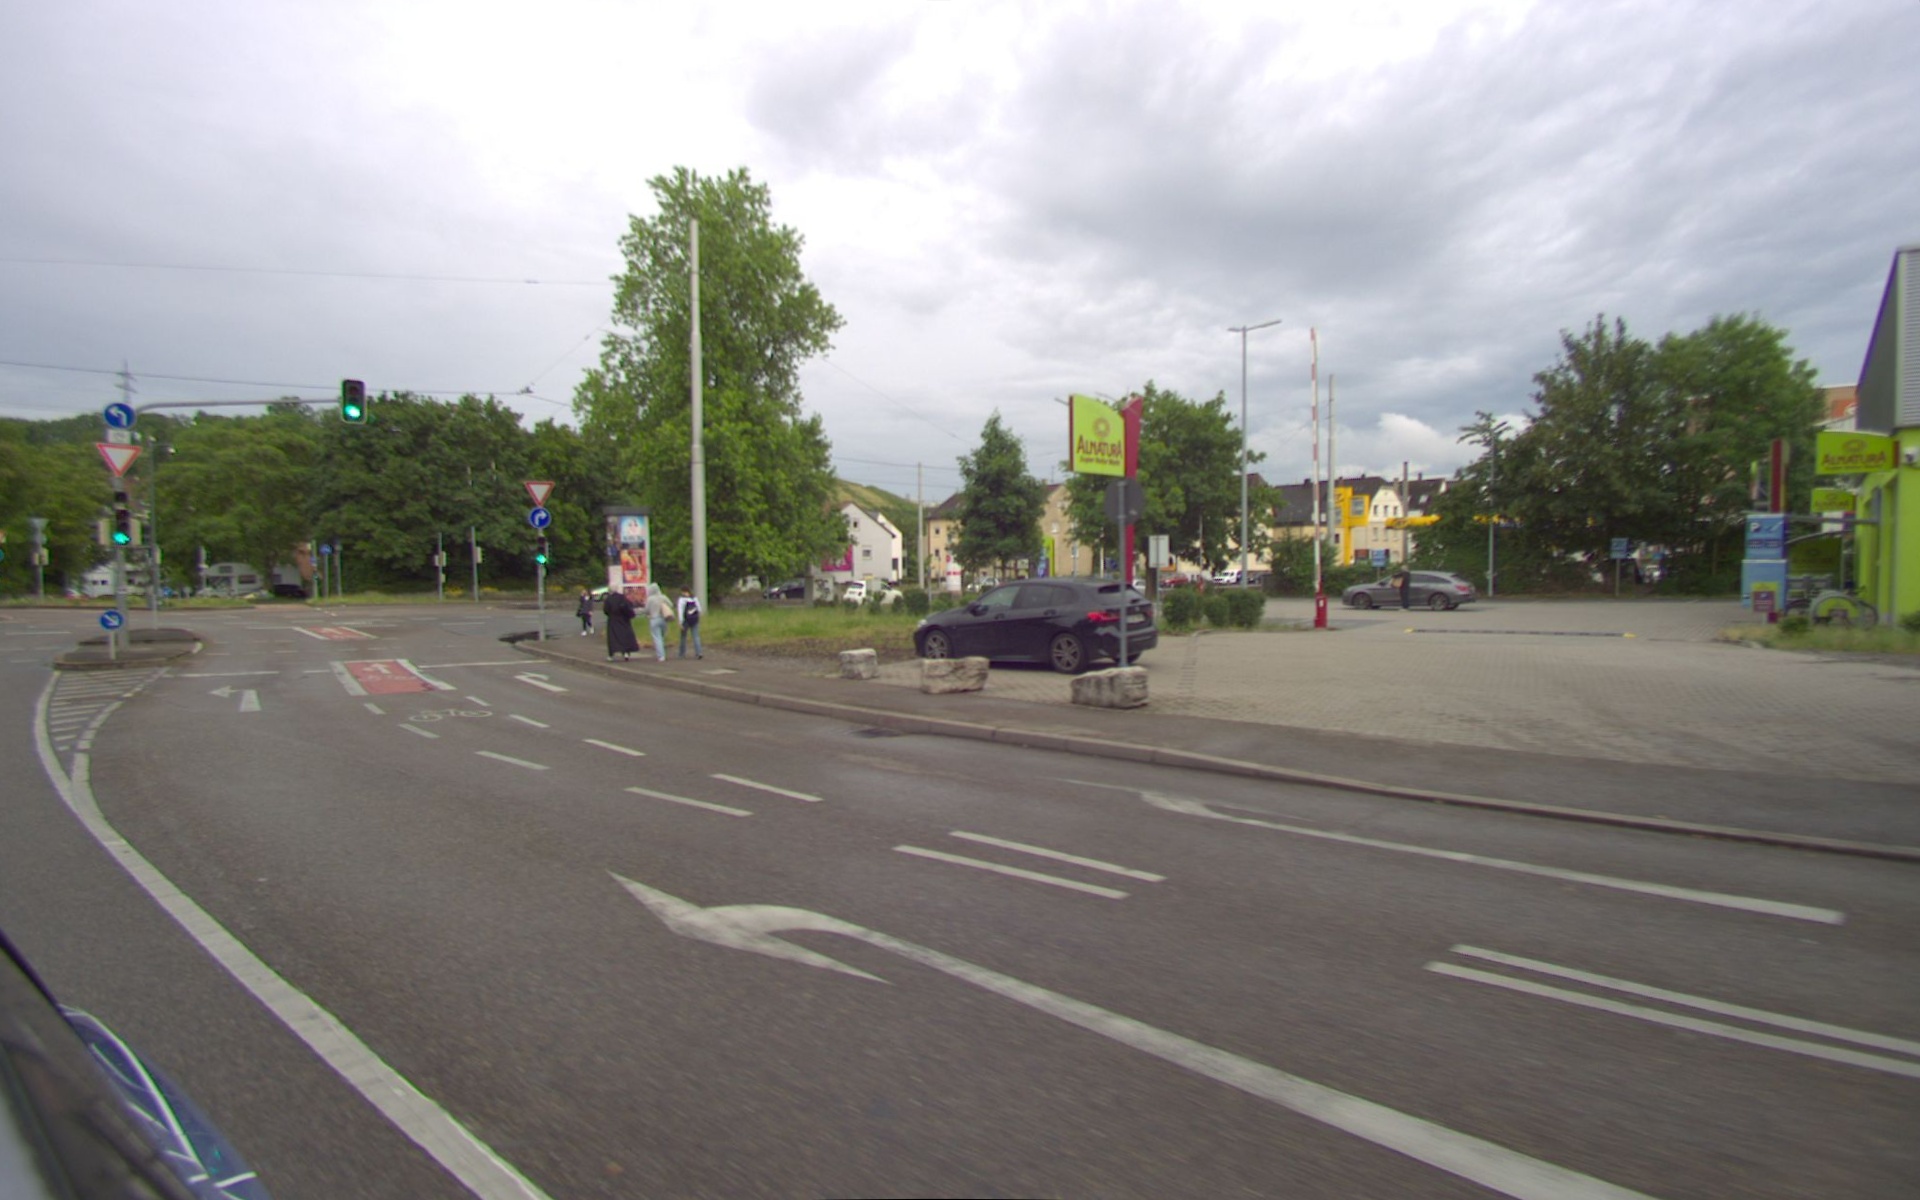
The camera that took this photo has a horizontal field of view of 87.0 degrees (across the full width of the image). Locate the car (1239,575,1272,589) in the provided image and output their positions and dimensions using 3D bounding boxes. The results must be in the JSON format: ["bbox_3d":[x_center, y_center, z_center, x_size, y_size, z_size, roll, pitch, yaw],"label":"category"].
[{"bbox_3d":[34.996,-2.164,119.908,4.071,1.523,1.695,-3,1,-39],"label":"car"}]

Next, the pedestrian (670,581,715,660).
[{"bbox_3d":[-5.646,0.419,21.330,0.647,1.614,0.679,-4,2,-34],"label":"pedestrian"}]

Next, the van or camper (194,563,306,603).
[{"bbox_3d":[-51.339,-1.211,73.288,6.336,2.775,2.433,-1,1,-44],"label":"van or camper"}]

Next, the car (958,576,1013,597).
[{"bbox_3d":[2.026,-1.100,80.231,4.136,1.435,1.892,-4,2,-41],"label":"car"}]

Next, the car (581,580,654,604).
[{"bbox_3d":[-22.501,-0.536,66.504,4.135,1.460,1.892,-2,1,-41],"label":"car"}]

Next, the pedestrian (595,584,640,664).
[{"bbox_3d":[-7.145,0.489,21.125,0.647,1.614,0.679,-4,2,-34],"label":"pedestrian"}]

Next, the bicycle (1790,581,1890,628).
[{"bbox_3d":[18.965,0.083,21.841,1.615,0.989,0.526,0,1,42],"label":"bicycle"}]

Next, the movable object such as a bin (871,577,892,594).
[{"bbox_3d":[-7.016,-1.300,90.653,1.280,1.428,1.317,-4,2,-42],"label":"movable object such as a bin"}]

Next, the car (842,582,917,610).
[{"bbox_3d":[-4.488,-0.254,56.560,3.937,1.493,1.695,-1,2,-40],"label":"car"}]

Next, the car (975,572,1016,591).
[{"bbox_3d":[3.598,-1.900,103.201,1.849,1.667,4.297,-4,1,-36],"label":"car"}]

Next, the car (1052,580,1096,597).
[{"bbox_3d":[11.407,-1.194,100.737,4.370,1.545,1.846,-2,1,-41],"label":"car"}]

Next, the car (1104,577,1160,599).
[{"bbox_3d":[12.396,-0.870,72.684,4.359,1.447,1.594,-2,3,-42],"label":"car"}]

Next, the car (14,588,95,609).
[{"bbox_3d":[-61.315,-0.136,68.553,1.678,1.364,3.943,1,1,43],"label":"car"}]

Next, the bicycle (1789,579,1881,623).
[{"bbox_3d":[20.363,0.016,23.586,1.615,0.989,0.526,0,1,42],"label":"bicycle"}]

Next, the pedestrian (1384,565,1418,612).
[{"bbox_3d":[15.594,-0.410,35.799,0.747,1.609,0.805,-4,2,-40],"label":"pedestrian"}]

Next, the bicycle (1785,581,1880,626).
[{"bbox_3d":[19.709,0.063,22.901,1.615,0.989,0.526,0,1,42],"label":"bicycle"}]

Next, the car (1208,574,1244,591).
[{"bbox_3d":[30.731,-2.045,116.705,4.452,1.769,1.856,-3,1,-42],"label":"car"}]

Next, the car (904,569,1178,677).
[{"bbox_3d":[1.201,0.305,16.380,4.234,1.459,1.728,0,3,43],"label":"car"}]

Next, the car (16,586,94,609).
[{"bbox_3d":[-62.759,-0.187,70.208,1.678,1.560,3.943,1,1,43],"label":"car"}]

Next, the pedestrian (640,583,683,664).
[{"bbox_3d":[-6.162,0.466,20.904,0.597,1.614,0.679,-4,2,-34],"label":"pedestrian"}]

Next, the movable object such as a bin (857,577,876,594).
[{"bbox_3d":[-8.262,-1.286,89.541,1.117,1.428,1.189,-4,2,-42],"label":"movable object such as a bin"}]

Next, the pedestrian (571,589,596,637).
[{"bbox_3d":[-12.442,0.417,33.464,0.583,1.543,0.670,-3,2,-30],"label":"pedestrian"}]

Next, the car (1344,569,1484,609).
[{"bbox_3d":[16.588,-0.402,37.081,4.378,1.355,1.751,0,2,42],"label":"car"}]

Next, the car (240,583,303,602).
[{"bbox_3d":[-48.785,-0.551,71.770,1.679,1.364,3.423,1,1,43],"label":"car"}]
